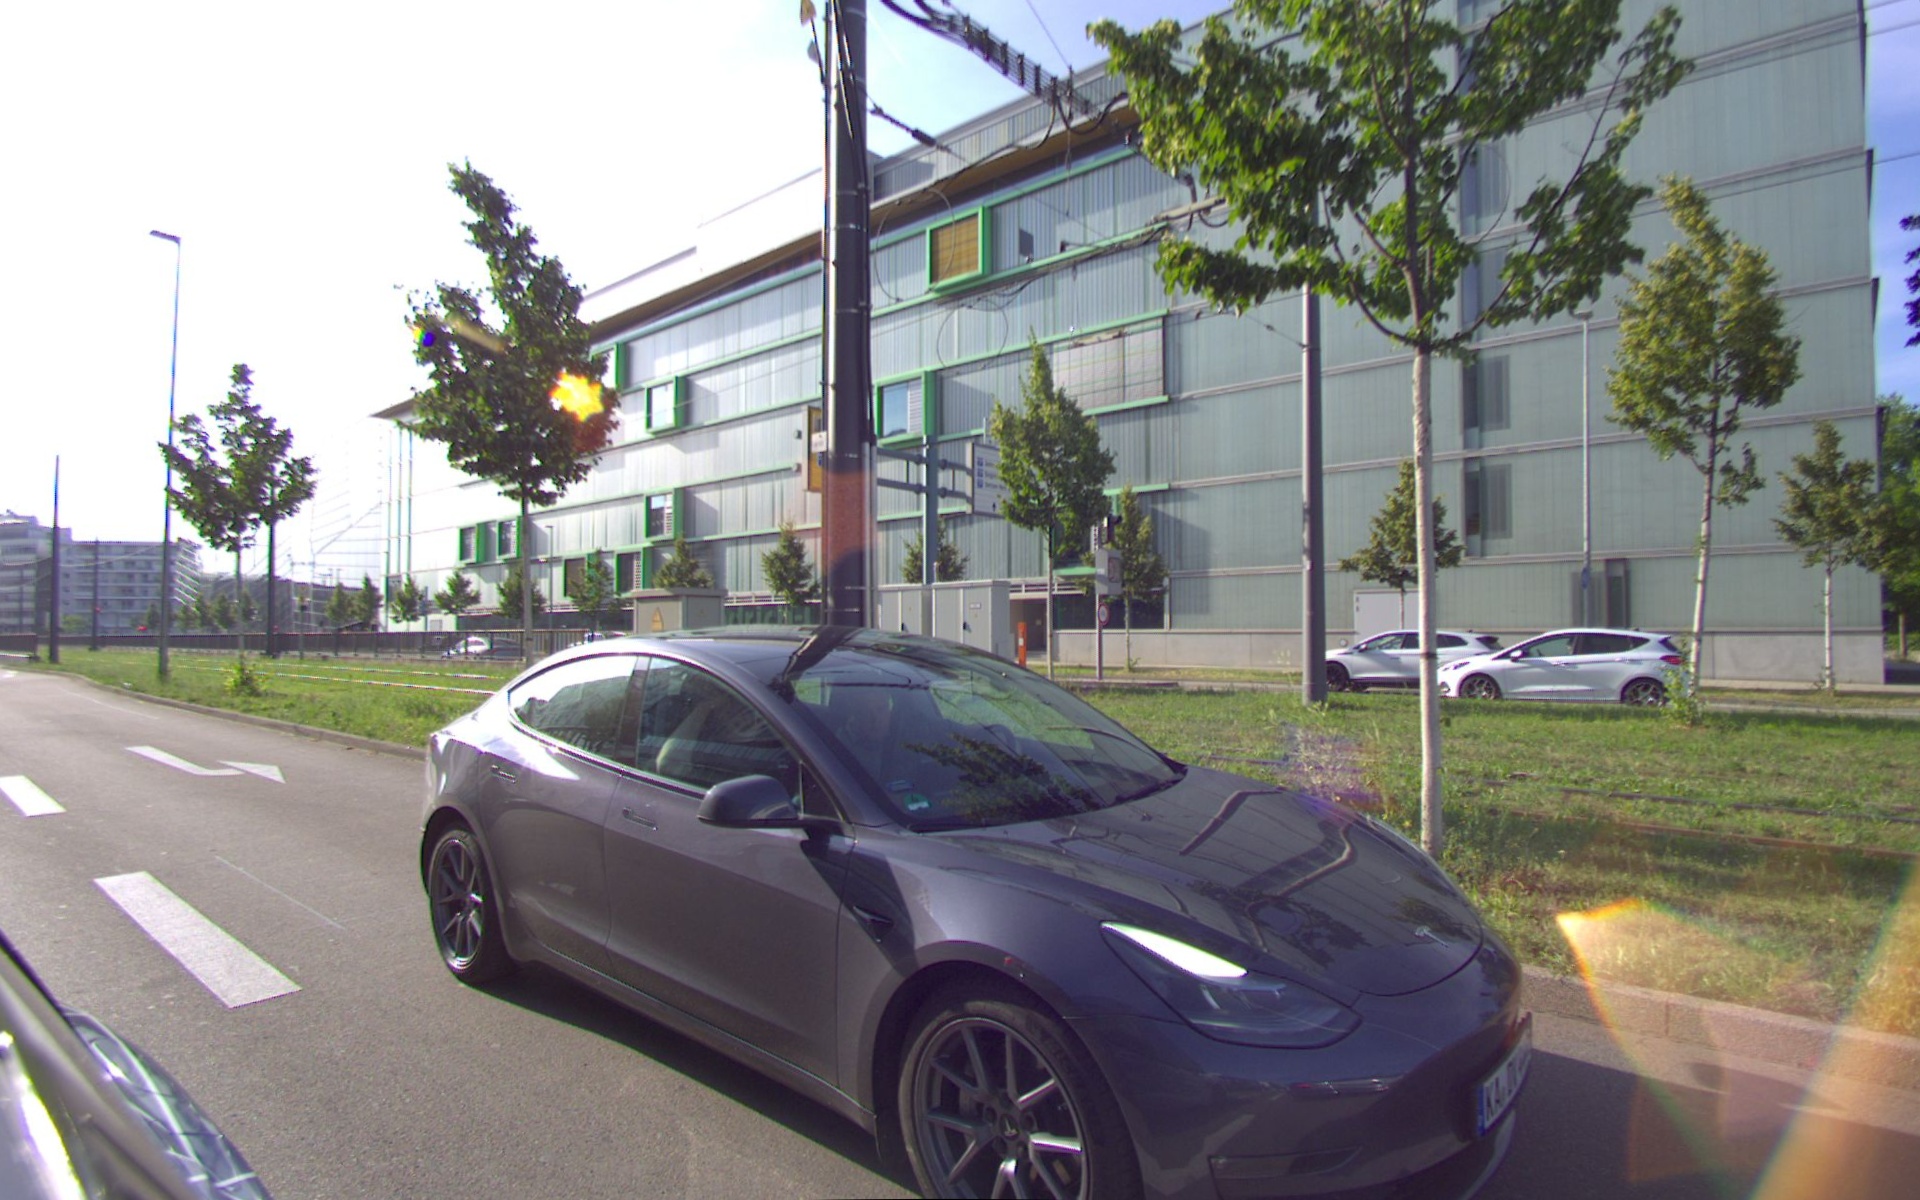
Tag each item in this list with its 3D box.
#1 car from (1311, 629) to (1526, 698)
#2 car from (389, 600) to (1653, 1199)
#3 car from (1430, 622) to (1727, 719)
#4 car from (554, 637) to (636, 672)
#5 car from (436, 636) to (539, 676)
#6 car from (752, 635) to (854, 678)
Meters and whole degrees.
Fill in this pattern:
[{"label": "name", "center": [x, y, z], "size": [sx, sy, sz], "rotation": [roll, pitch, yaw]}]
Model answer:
[{"label": "car", "center": [11.095, 1.510, 24.656], "size": [4.437, 1.539, 1.886], "rotation": [-2, -3, 40]}, {"label": "car", "center": [-0.242, 0.776, 3.673], "size": [4.332, 1.396, 1.870], "rotation": [-3, -1, 41]}, {"label": "car", "center": [10.925, 1.205, 18.076], "size": [4.303, 1.539, 1.976], "rotation": [-2, -3, 36]}, {"label": "car", "center": [-18.572, 2.753, 51.394], "size": [4.614, 1.700, 1.973], "rotation": [-2, -3, 41]}, {"label": "car", "center": [-19.798, 2.318, 42.336], "size": [4.907, 1.539, 1.974], "rotation": [-2, -3, 39]}, {"label": "car", "center": [-6.384, 2.231, 40.906], "size": [4.179, 1.647, 1.888], "rotation": [-2, -3, 42]}]
